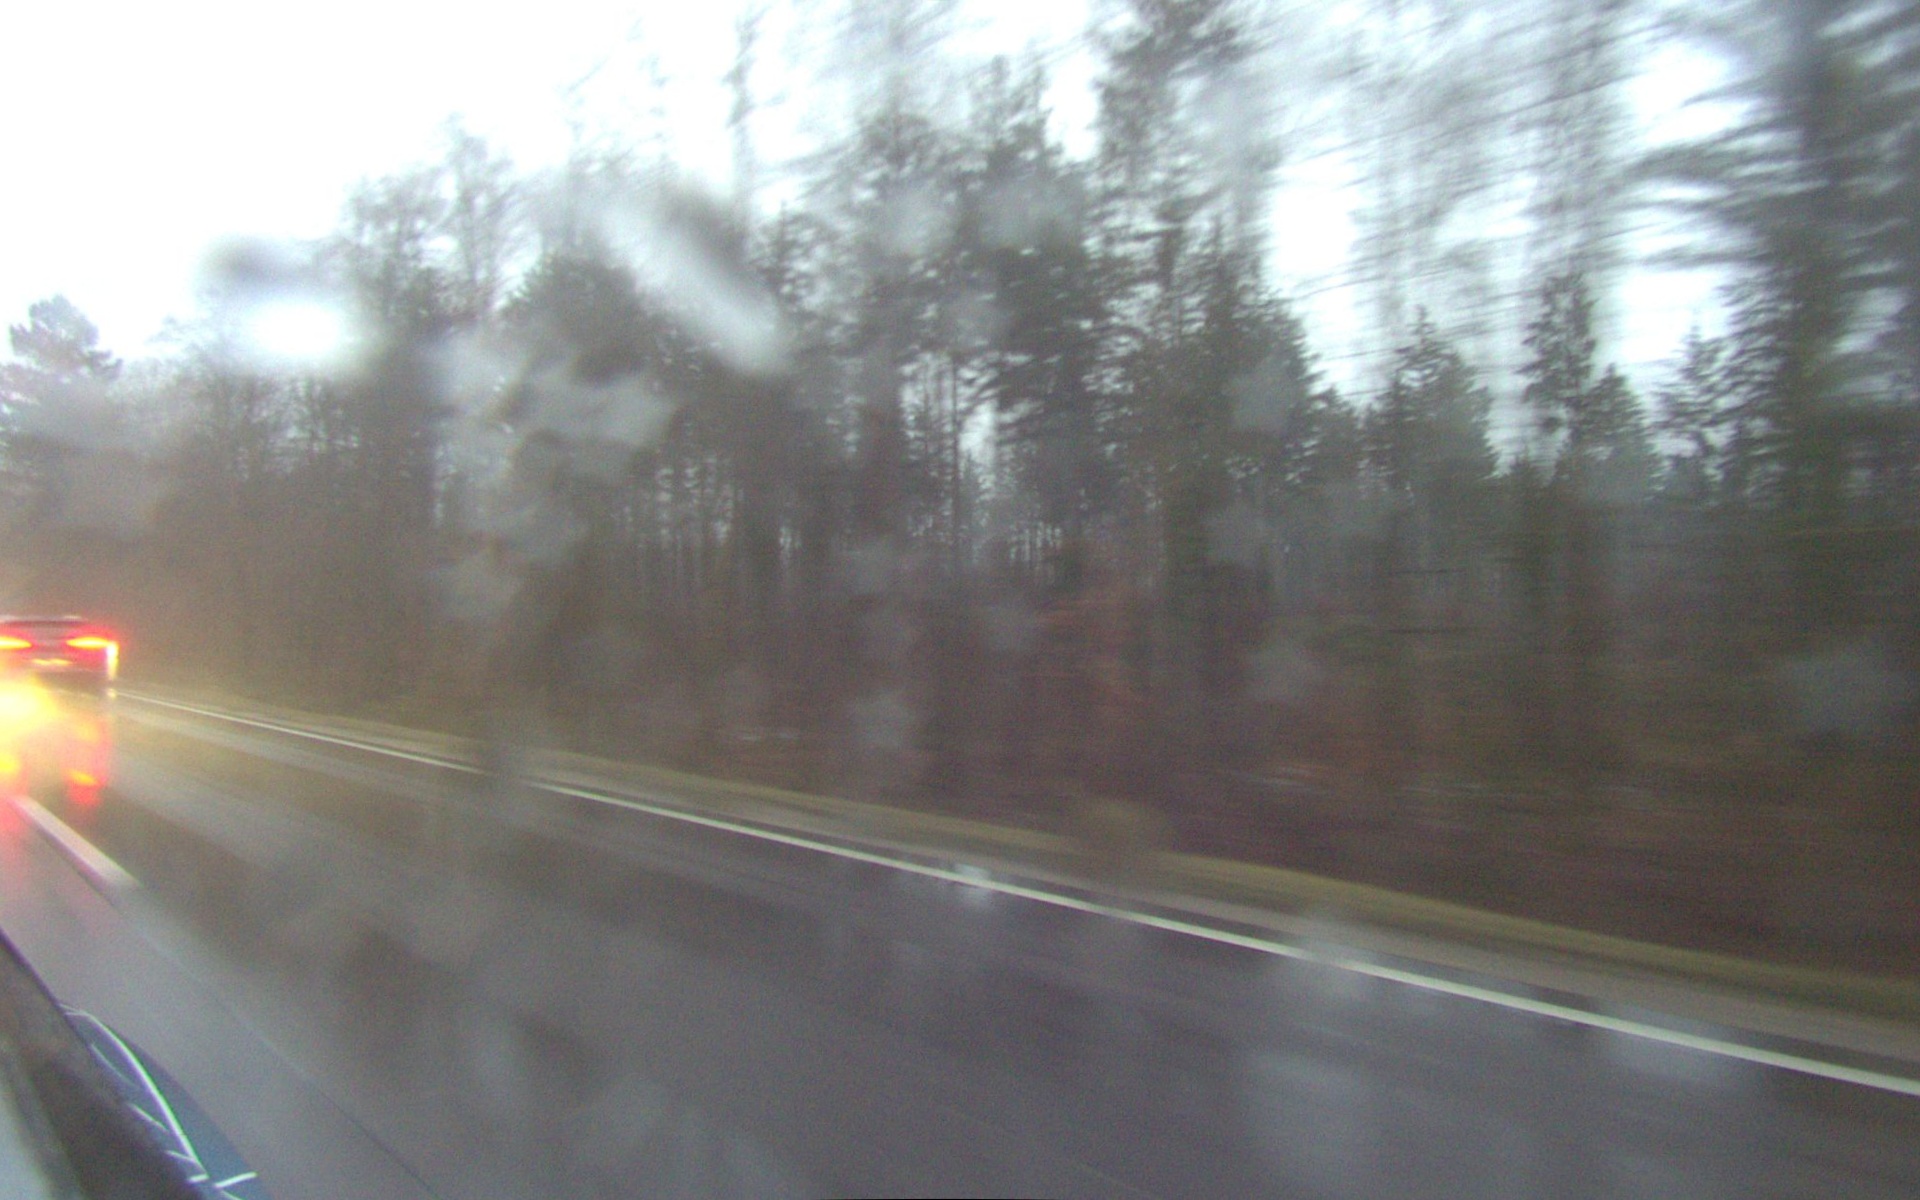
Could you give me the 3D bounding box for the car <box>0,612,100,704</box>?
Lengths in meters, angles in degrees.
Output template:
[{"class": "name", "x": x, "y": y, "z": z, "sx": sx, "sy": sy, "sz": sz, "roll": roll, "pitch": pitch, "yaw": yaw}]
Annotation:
[{"class": "car", "x": -18.374, "y": 1.079, "z": 19.848, "sx": 3.998, "sy": 1.647, "sz": 1.723, "roll": -1, "pitch": -2, "yaw": 41}]
